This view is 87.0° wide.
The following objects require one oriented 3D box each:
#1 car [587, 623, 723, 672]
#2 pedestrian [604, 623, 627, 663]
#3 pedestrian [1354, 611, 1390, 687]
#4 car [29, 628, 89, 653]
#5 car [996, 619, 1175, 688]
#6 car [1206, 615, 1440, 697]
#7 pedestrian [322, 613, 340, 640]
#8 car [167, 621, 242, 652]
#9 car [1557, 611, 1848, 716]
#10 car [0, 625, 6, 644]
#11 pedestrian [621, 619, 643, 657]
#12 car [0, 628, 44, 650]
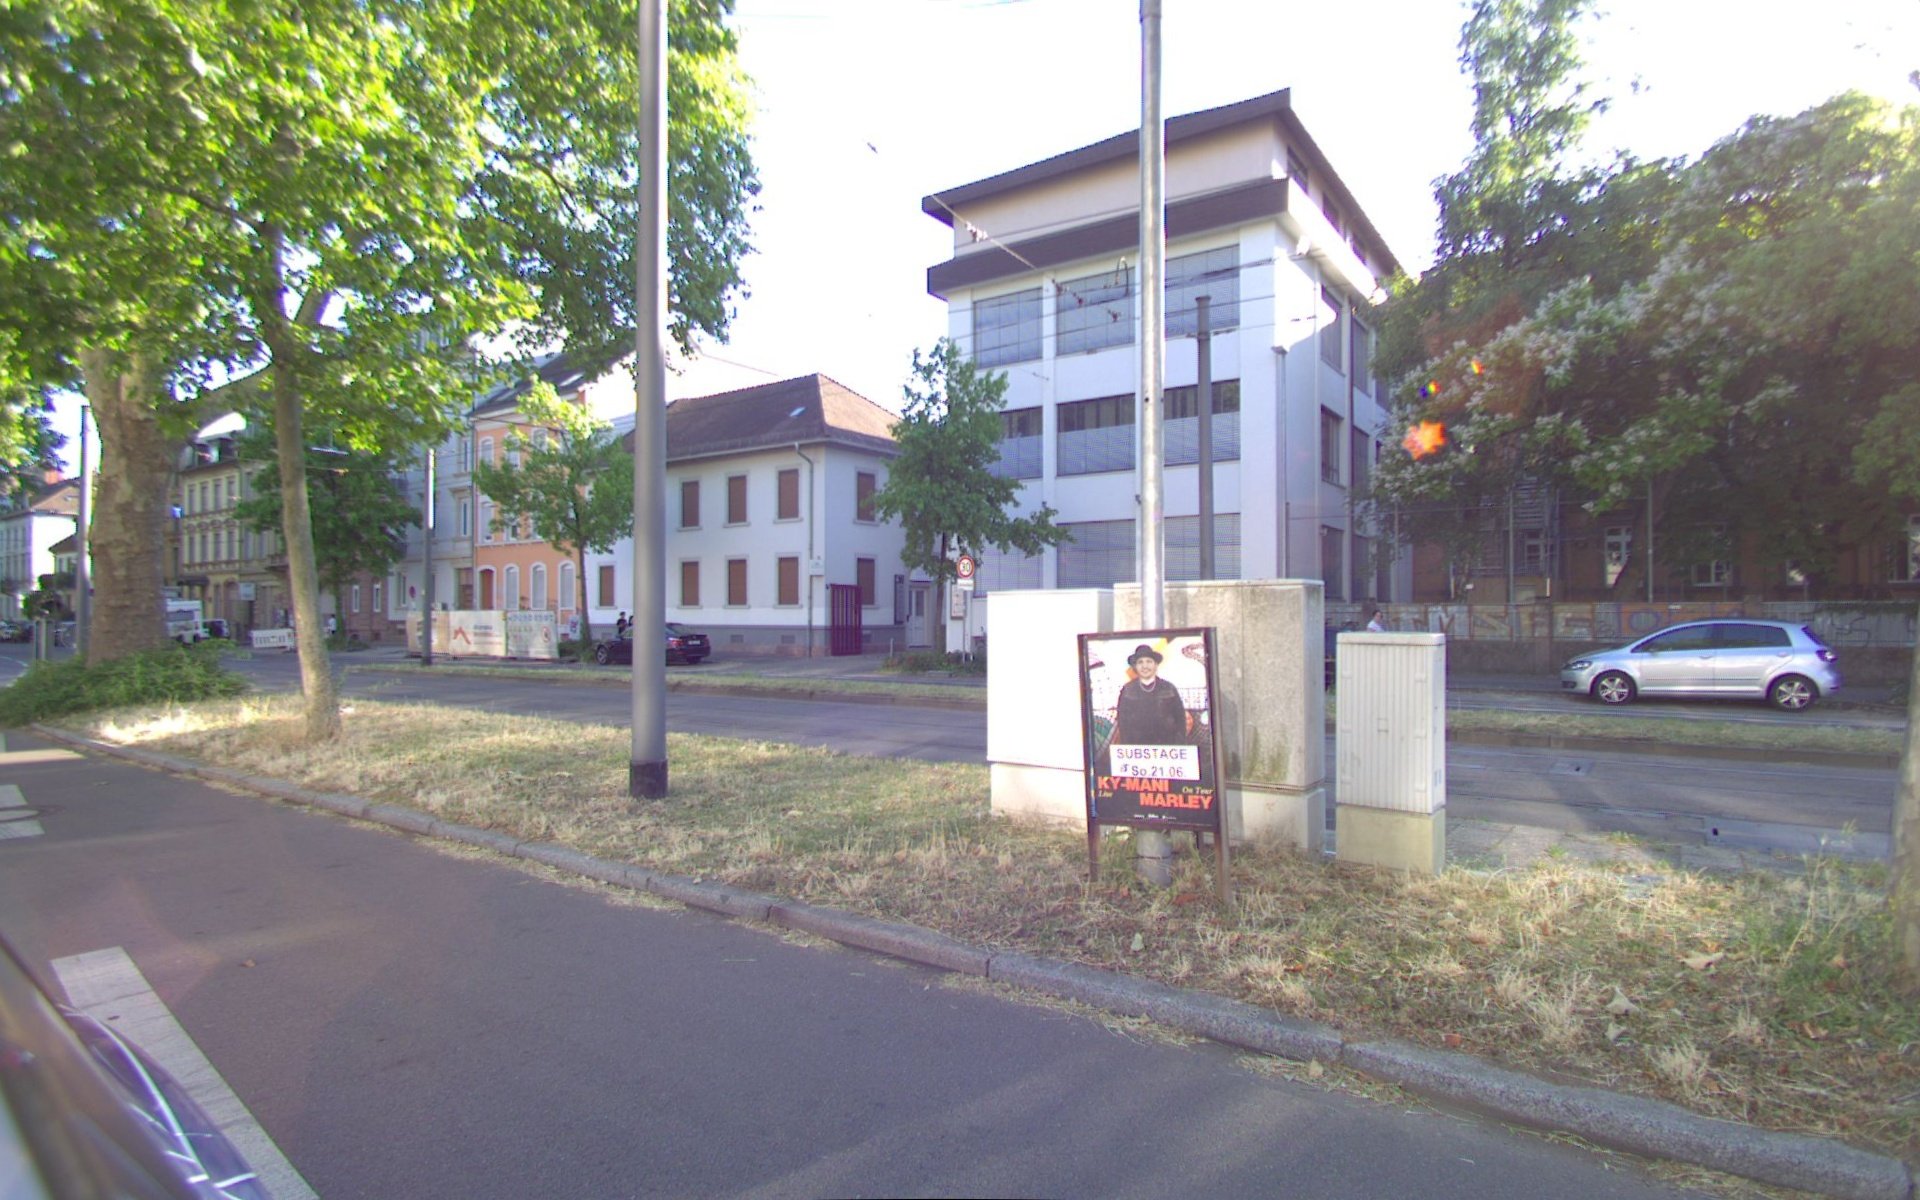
[{"bbox_3d":[-10.579,1.606,35.029,4.566,1.481,2.065,-1,1,33],"label":"car"},{"bbox_3d":[-13.637,1.687,40.025,0.708,1.540,0.532,-1,-2,29],"label":"pedestrian"},{"bbox_3d":[9.268,1.088,22.759,0.630,1.677,0.563,-1,1,34],"label":"pedestrian"},{"bbox_3d":[-63.465,2.827,71.268,4.503,1.551,2.065,-1,1,33],"label":"car"},{"bbox_3d":[3.157,1.293,25.547,3.985,1.501,2.065,-1,1,33],"label":"car"},{"bbox_3d":[7.867,1.150,22.036,4.444,1.513,2.065,-1,1,33],"label":"car"},{"bbox_3d":[-35.719,1.485,57.493,0.612,1.540,0.636,-1,-2,24],"label":"pedestrian"},{"bbox_3d":[-44.056,2.111,59.013,4.520,1.686,2.065,-1,1,33],"label":"car"},{"bbox_3d":[13.390,1.079,18.592,4.086,1.631,2.065,-1,1,33],"label":"car"},{"bbox_3d":[-81.342,2.906,84.102,4.027,1.551,2.065,-1,1,33],"label":"car"},{"bbox_3d":[-13.298,1.532,40.995,0.710,1.540,0.531,-1,-2,35],"label":"pedestrian"},{"bbox_3d":[-73.872,3.034,79.196,5.090,1.551,2.065,-1,1,33],"label":"car"}]
